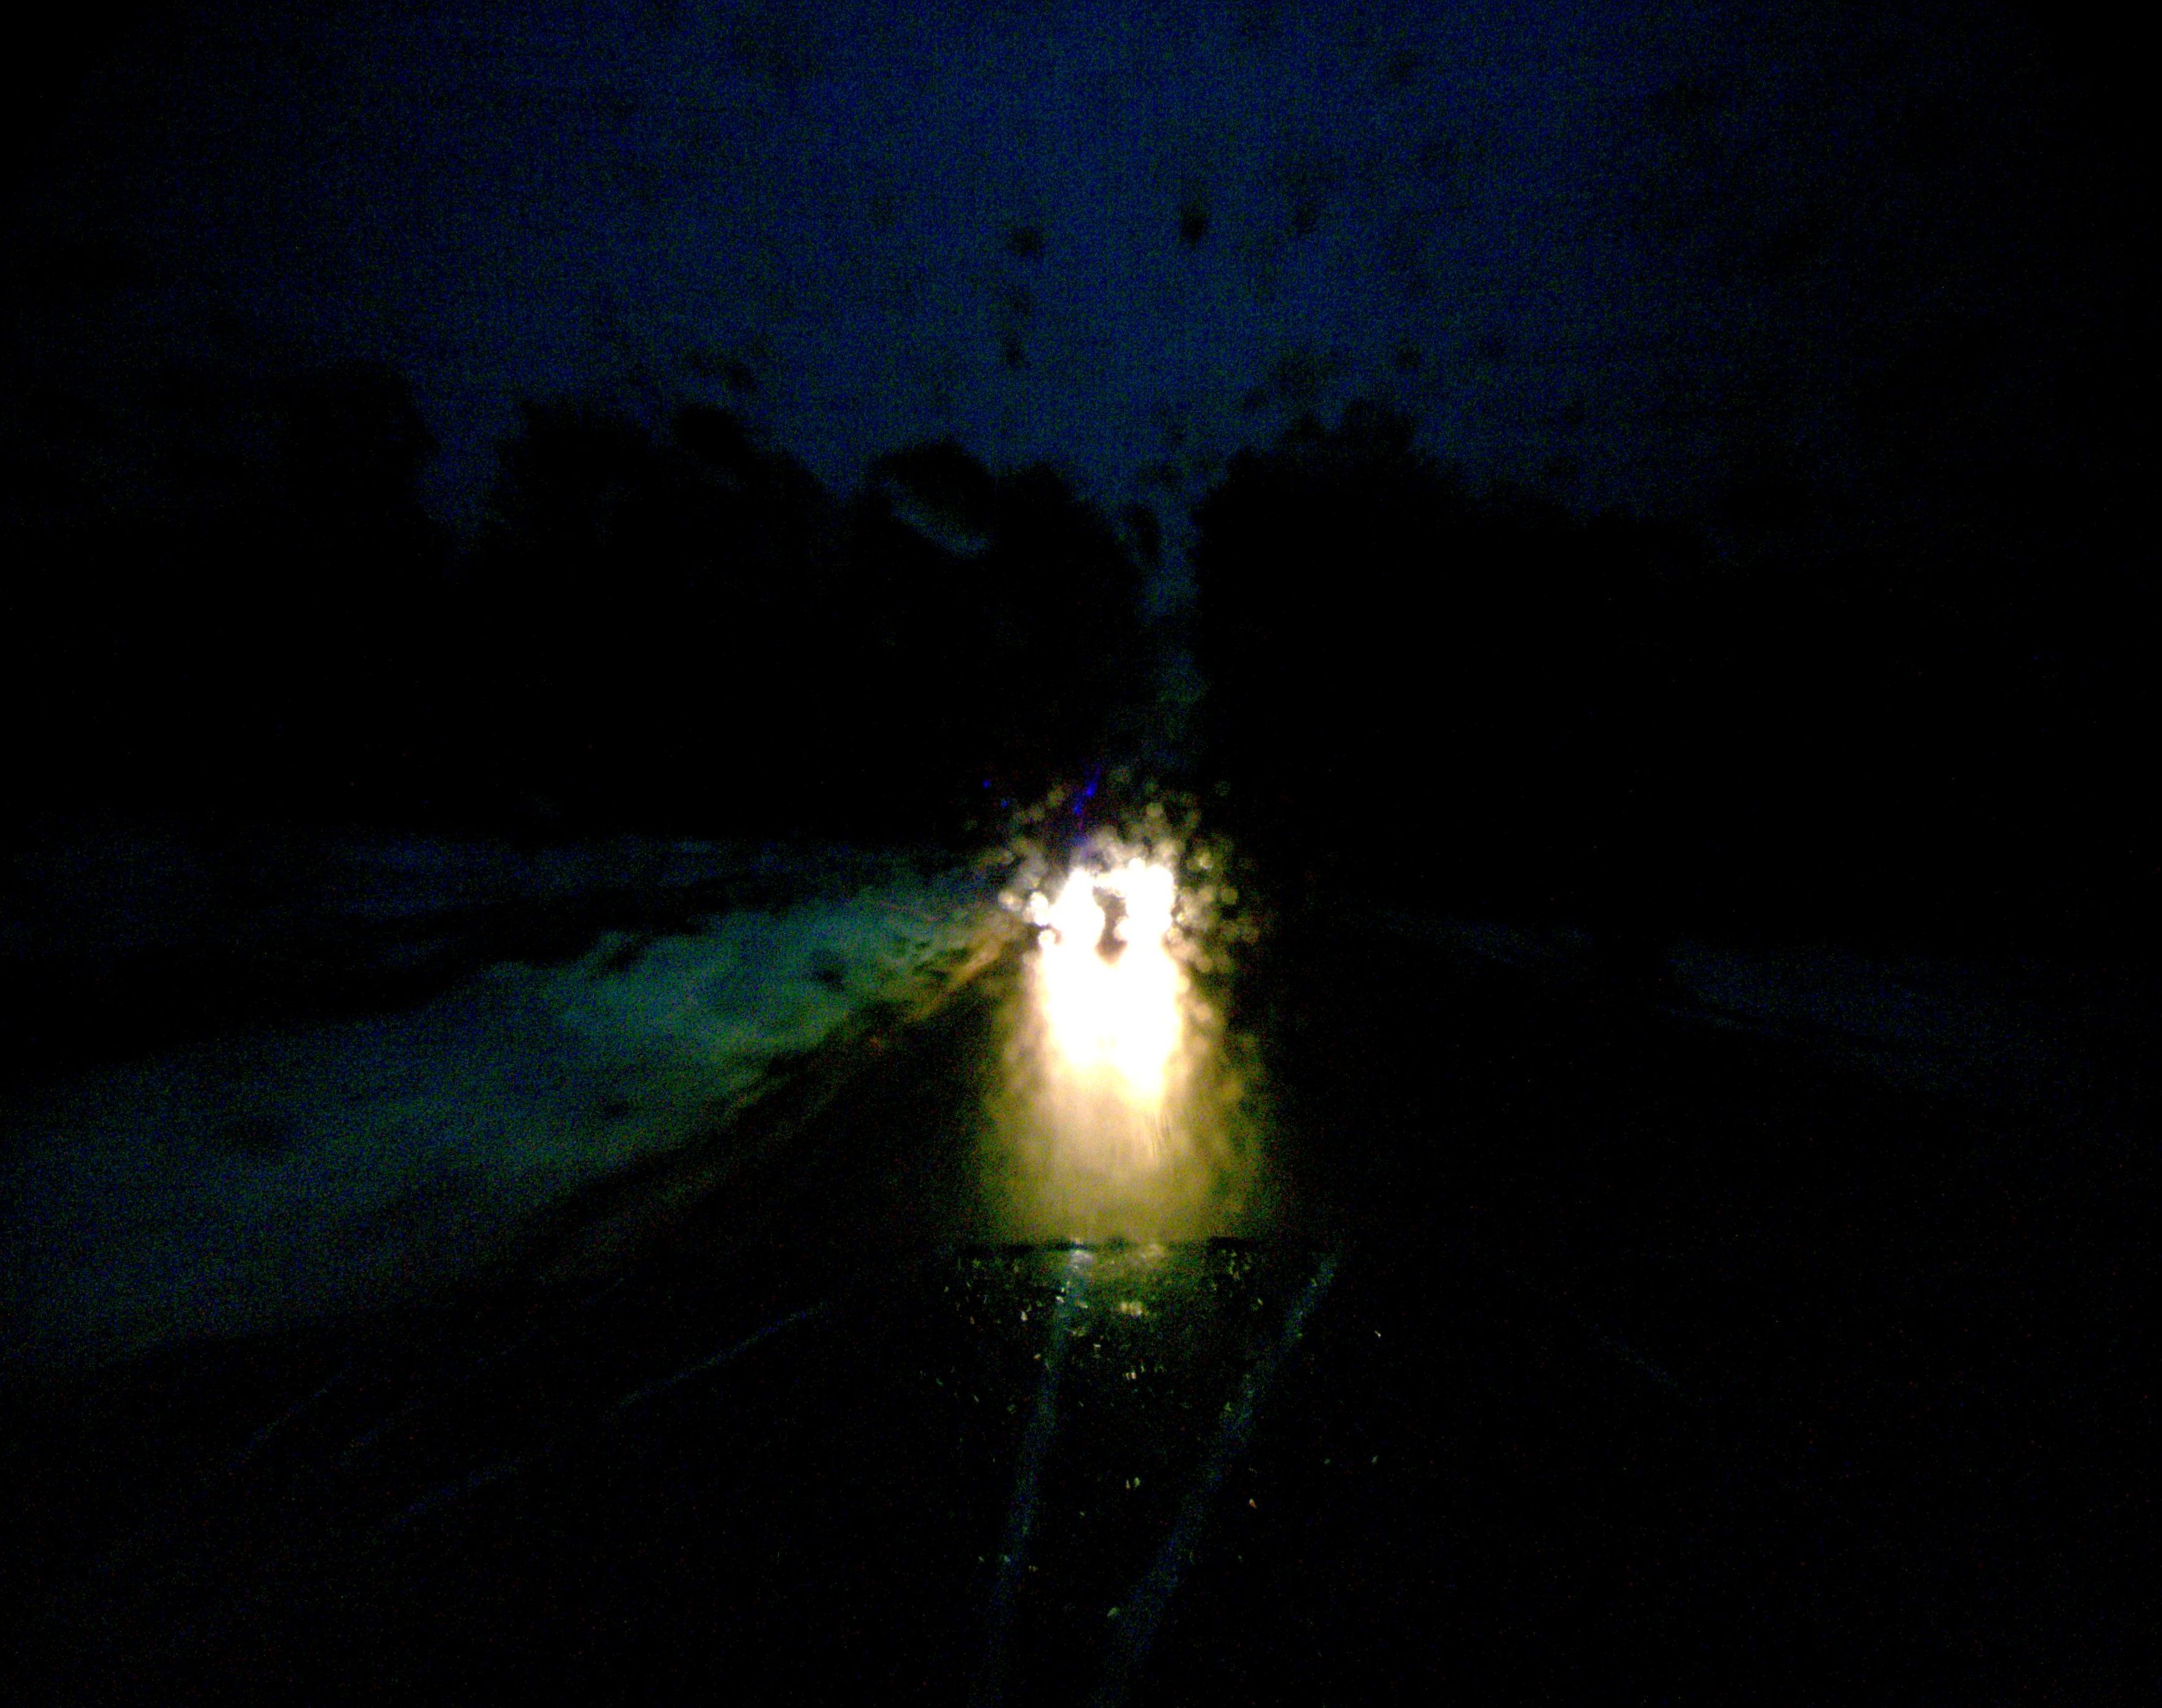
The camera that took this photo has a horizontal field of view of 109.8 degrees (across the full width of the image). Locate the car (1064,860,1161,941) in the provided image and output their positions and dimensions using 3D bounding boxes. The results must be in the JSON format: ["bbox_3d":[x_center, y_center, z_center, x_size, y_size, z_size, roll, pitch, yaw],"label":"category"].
[{"bbox_3d":[0.775,0.888,16.080,1.649,1.446,3.683,-2,0,8],"label":"car"}]
